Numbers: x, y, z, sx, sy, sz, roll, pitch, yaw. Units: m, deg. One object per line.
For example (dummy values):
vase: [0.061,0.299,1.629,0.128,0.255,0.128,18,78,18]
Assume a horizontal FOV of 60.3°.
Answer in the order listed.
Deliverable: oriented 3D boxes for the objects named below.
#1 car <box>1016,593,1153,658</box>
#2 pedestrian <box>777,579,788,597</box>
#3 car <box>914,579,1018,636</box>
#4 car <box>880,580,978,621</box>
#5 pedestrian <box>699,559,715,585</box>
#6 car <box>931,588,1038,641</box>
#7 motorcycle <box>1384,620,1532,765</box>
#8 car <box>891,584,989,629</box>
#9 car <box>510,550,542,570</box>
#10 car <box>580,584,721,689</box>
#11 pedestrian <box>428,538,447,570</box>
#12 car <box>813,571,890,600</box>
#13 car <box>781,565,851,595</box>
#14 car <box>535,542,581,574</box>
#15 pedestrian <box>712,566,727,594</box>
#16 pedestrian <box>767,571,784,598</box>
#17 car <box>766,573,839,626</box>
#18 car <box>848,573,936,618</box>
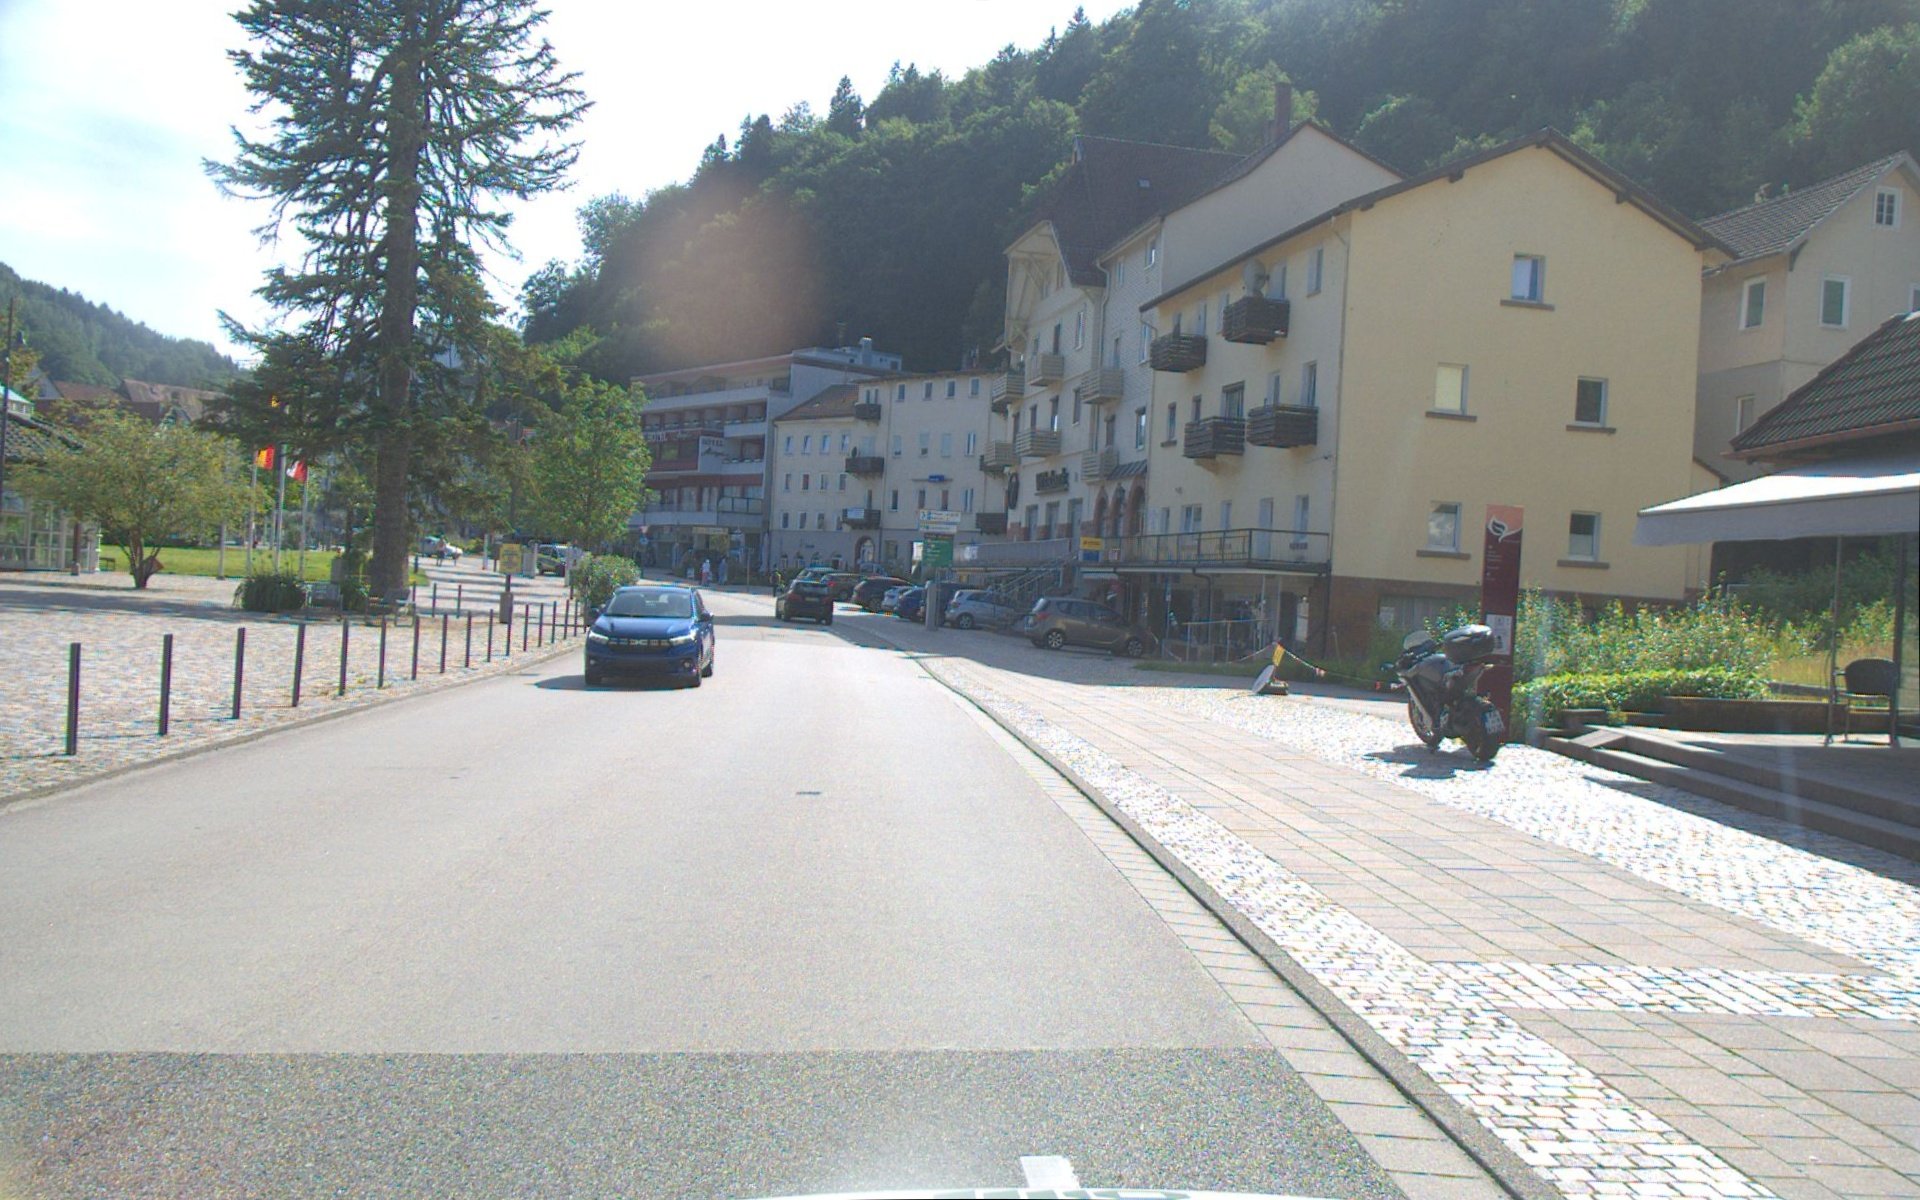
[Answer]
car: [3.867,0.792,51.469,3.794,1.581,1.755,6,0,-13]
pedestrian: [-10.125,-0.688,94.244,0.414,1.019,0.523,1,2,-39]
car: [0.216,0.298,67.708,3.840,1.835,1.853,7,-1,-10]
car: [-1.450,0.041,76.650,4.276,1.486,1.769,5,-1,-8]
pedestrian: [-16.646,-1.844,108.729,0.750,1.621,0.621,4,0,-33]
car: [0.942,0.547,65.018,3.840,1.616,1.771,6,0,-10]
motorcycle: [4.960,0.882,16.646,0.683,1.319,2.210,0,0,-4]
car: [-0.871,0.276,70.280,3.840,1.485,1.732,6,0,-10]
car: [-41.402,-3.844,157.817,1.662,1.648,3.953,4,1,-34]
car: [-4.816,0.517,26.249,1.707,1.488,4.183,1,0,-4]
pedestrian: [-31.215,-2.730,98.843,0.858,1.846,0.684,4,0,-32]
car: [-6.099,-0.805,93.157,3.968,1.542,1.755,0,3,-31]
car: [-8.595,-1.185,98.876,3.821,1.640,1.755,0,3,-31]
car: [-25.805,-2.699,106.071,1.832,1.987,4.977,2,1,-26]
pedestrian: [-15.801,-1.317,108.794,0.662,1.758,0.700,4,0,-33]
pedestrian: [-10.482,-0.886,93.881,0.730,1.467,0.624,1,1,-39]
car: [-5.832,-0.036,60.733,1.702,1.601,3.732,4,2,-20]
car: [-3.344,-0.227,81.436,4.011,1.694,1.769,7,0,-10]
